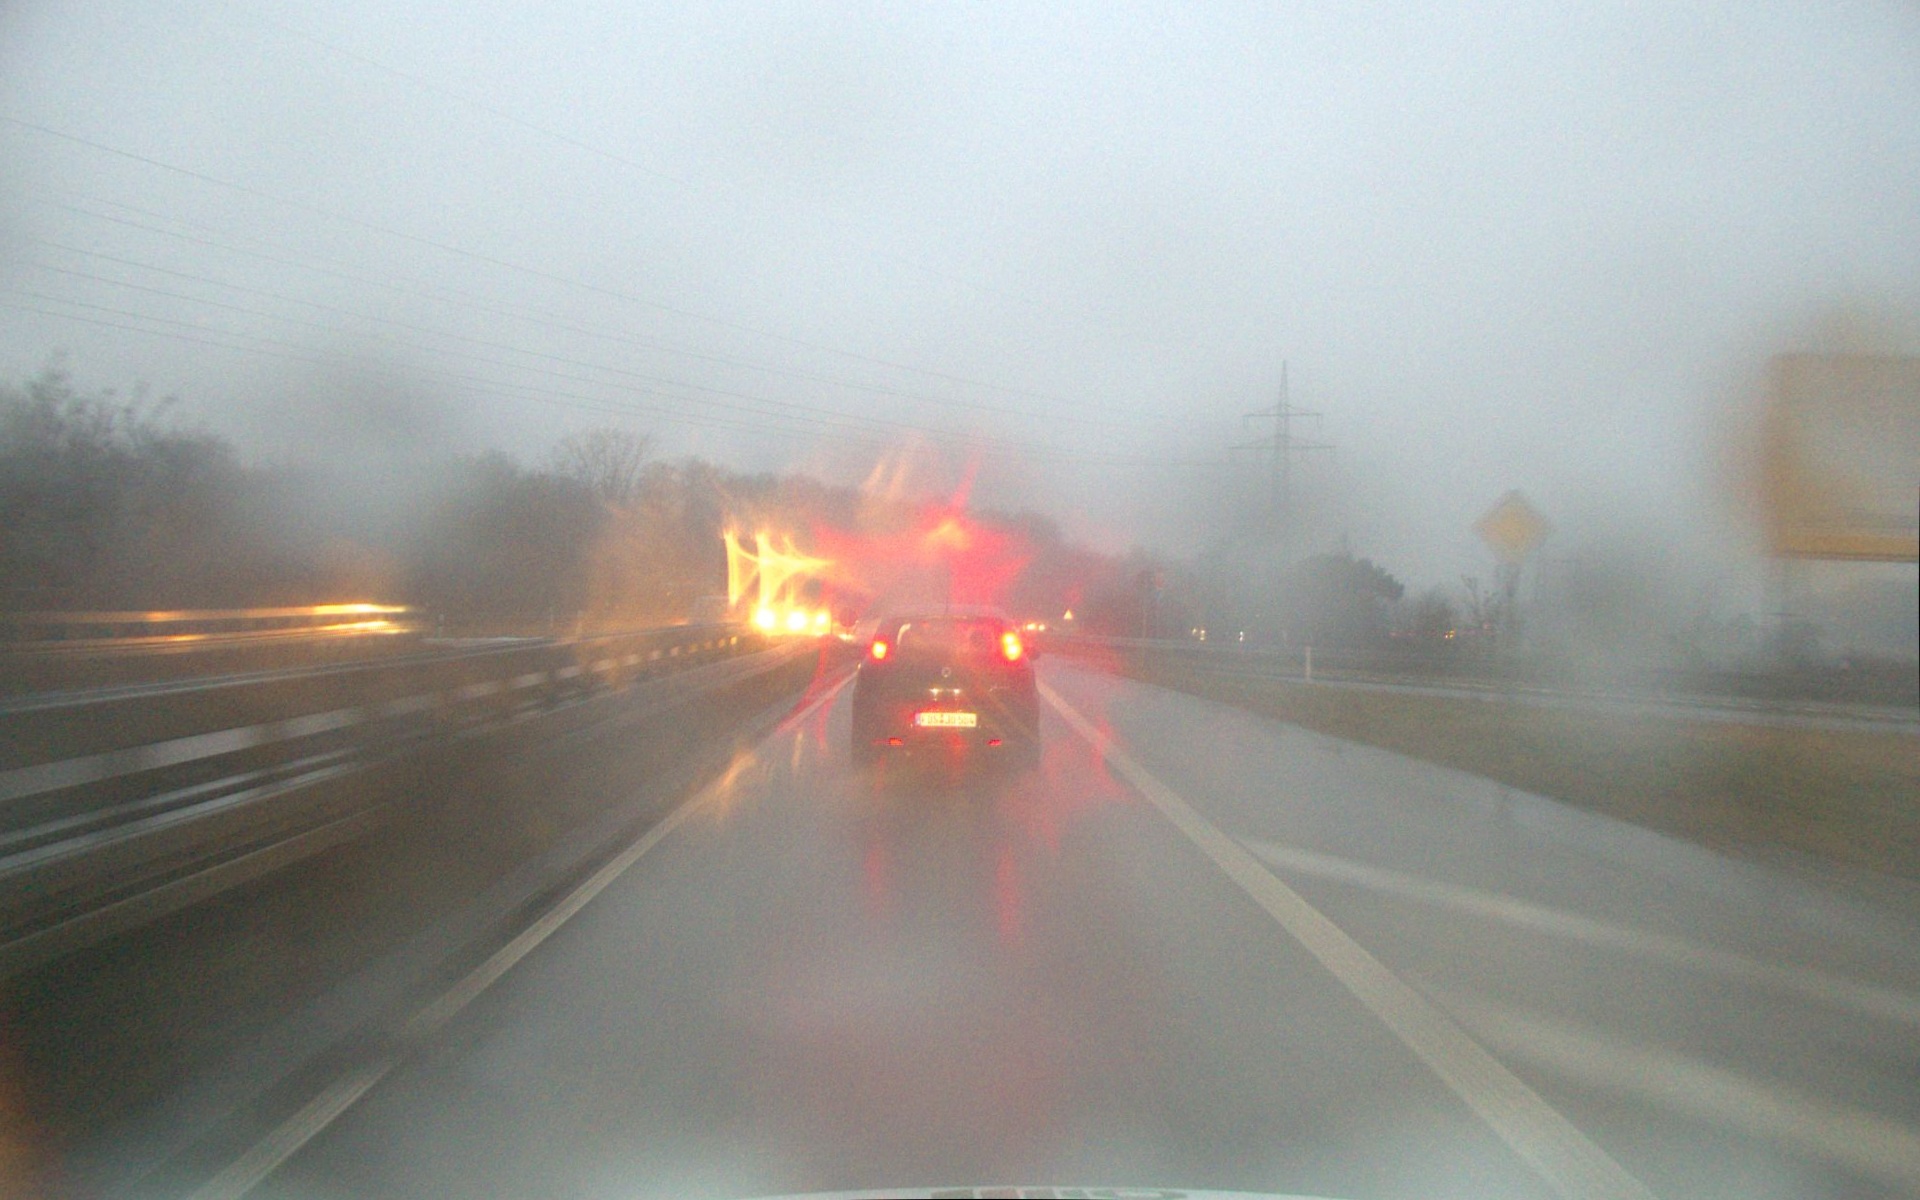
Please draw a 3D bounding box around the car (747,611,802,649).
[{"bbox_3d":[-7.751,1.241,69.504,1.953,1.498,4.471,1,-1,-2],"label":"car"}]

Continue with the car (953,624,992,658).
[{"bbox_3d":[0.738,2.383,95.262,1.905,1.775,4.001,3,-2,4],"label":"car"}]

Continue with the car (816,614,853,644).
[{"bbox_3d":[-6.524,1.478,86.300,1.613,1.528,4.000,0,-1,0],"label":"car"}]

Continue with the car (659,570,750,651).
[{"bbox_3d":[-6.941,0.350,45.414,1.954,2.049,4.995,1,-2,-3],"label":"car"}]

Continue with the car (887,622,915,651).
[{"bbox_3d":[-4.389,2.718,124.046,1.833,2.175,5.180,0,-1,1],"label":"car"}]

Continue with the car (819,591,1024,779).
[{"bbox_3d":[-0.306,0.727,15.750,1.694,1.559,4.042,0,-1,0],"label":"car"}]
